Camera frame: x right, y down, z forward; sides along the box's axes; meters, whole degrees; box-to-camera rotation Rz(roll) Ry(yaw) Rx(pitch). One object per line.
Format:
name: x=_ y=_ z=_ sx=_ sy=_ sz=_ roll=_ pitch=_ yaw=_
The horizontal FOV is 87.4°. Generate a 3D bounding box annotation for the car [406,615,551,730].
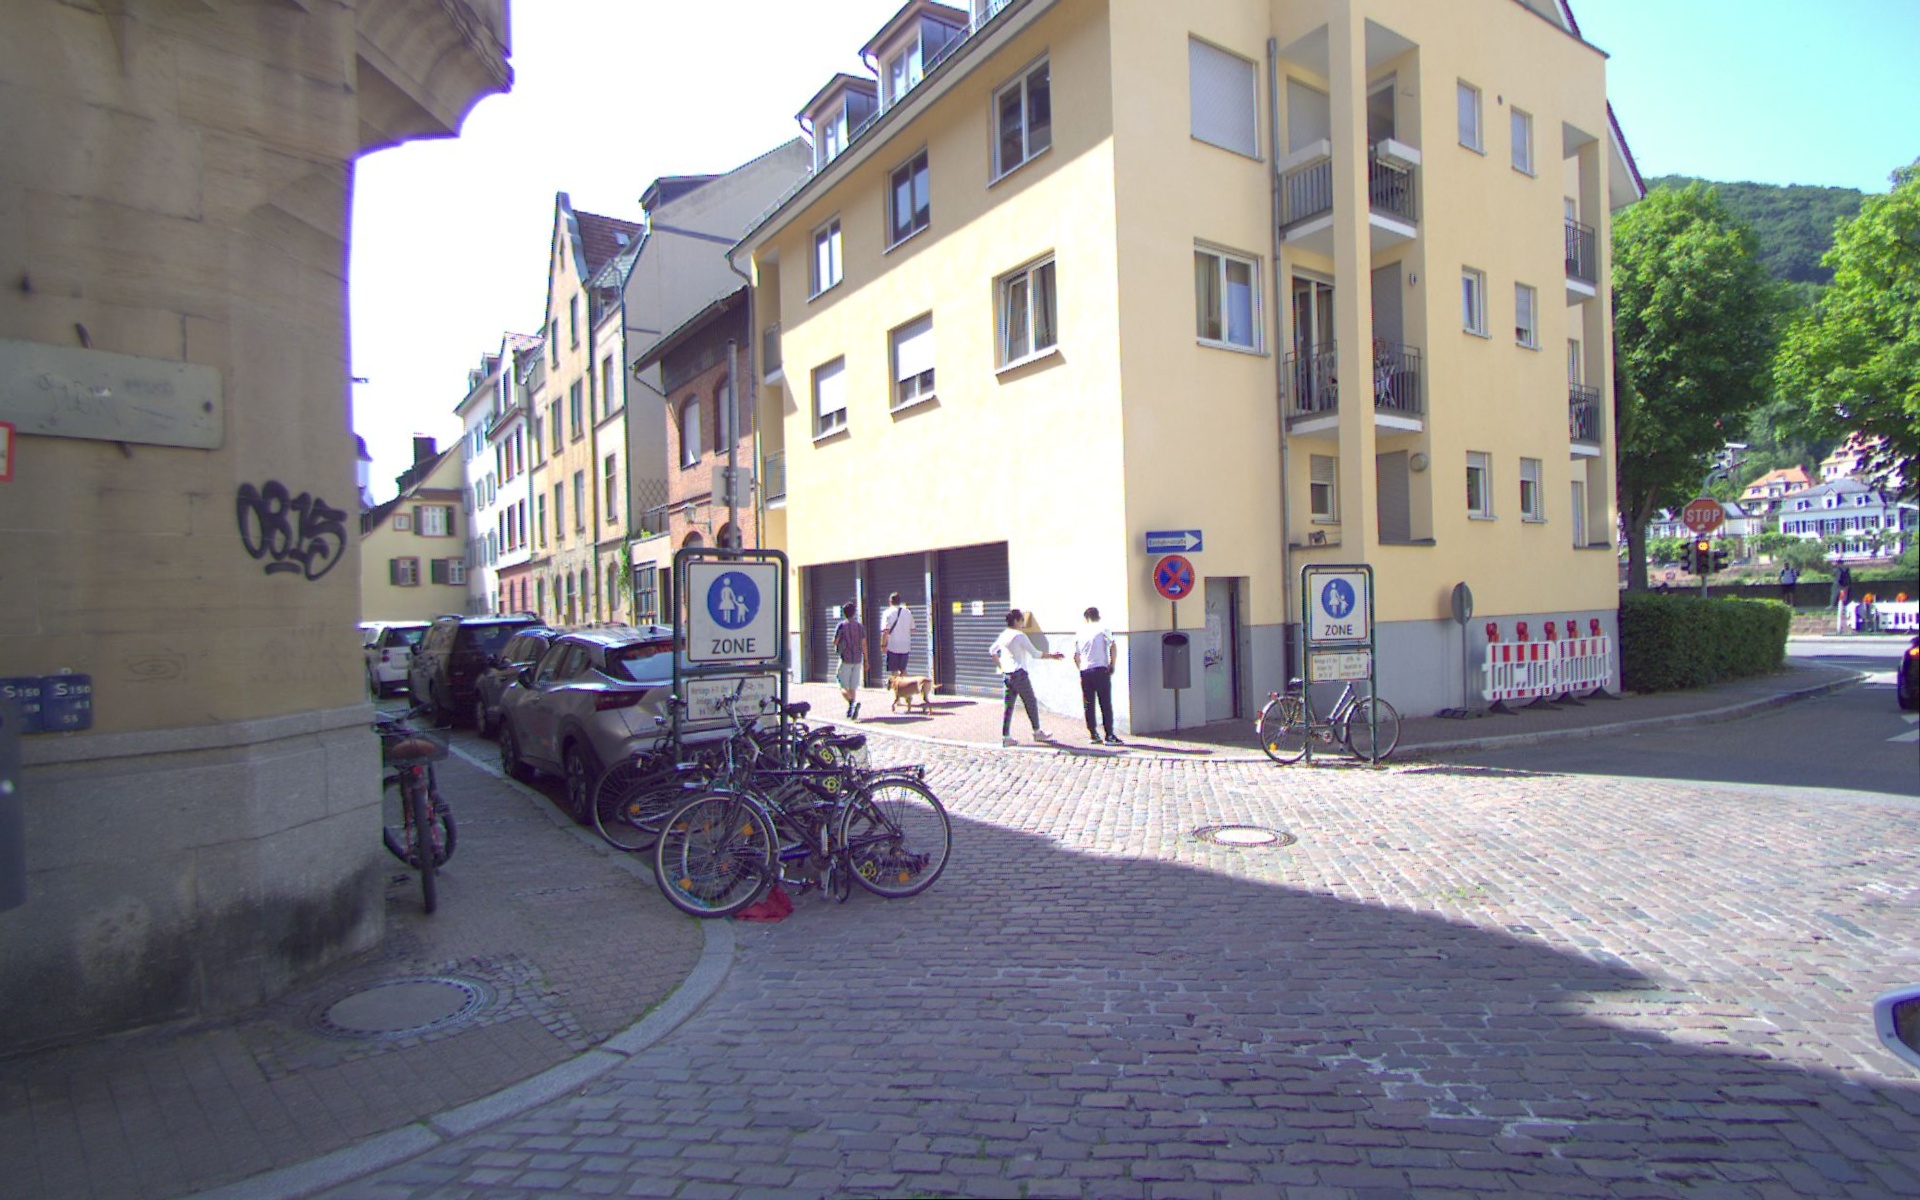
car: x=-8.180 y=1.102 z=16.900 sx=1.553 sy=1.657 sz=3.822 roll=0 pitch=0 yaw=-36

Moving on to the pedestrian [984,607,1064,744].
pedestrian: x=0.790 y=0.926 z=12.578 sx=0.746 sy=1.639 sz=0.687 roll=-1 pitch=-2 yaw=-23

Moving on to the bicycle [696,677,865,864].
bicycle: x=-1.312 y=1.232 z=7.657 sx=0.280 sy=1.100 sz=1.640 roll=-4 pitch=1 yaw=26

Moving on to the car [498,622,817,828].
car: x=-3.166 y=1.038 z=9.981 sx=1.835 sy=1.564 sz=3.888 roll=-1 pitch=-1 yaw=-36

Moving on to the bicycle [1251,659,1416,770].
bicycle: x=4.156 y=1.247 z=11.154 sx=1.880 sy=1.093 sz=0.390 roll=-1 pitch=-1 yaw=-19

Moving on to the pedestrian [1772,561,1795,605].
pedestrian: x=33.630 y=-0.698 z=41.015 sx=0.700 sy=1.755 sz=0.752 roll=-1 pitch=0 yaw=42

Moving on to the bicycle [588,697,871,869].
bicycle: x=-1.509 y=1.192 z=6.747 sx=1.633 sy=1.086 sz=0.285 roll=0 pitch=42 yaw=-47

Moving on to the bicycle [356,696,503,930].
bicycle: x=-3.152 y=1.157 z=5.904 sx=0.491 sy=1.100 sz=1.626 roll=4 pitch=-4 yaw=-36

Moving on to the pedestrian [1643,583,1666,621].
pedestrian: x=27.762 y=0.075 z=40.135 sx=0.796 sy=1.513 sz=0.464 roll=-1 pitch=0 yaw=-34

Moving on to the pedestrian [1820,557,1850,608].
pedestrian: x=32.956 y=-0.664 z=37.831 sx=0.752 sy=1.882 sz=0.754 roll=-1 pitch=0 yaw=35

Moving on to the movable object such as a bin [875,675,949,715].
movable object such as a bin: x=-0.748 y=1.444 z=15.378 sx=1.223 sy=0.571 sz=0.299 roll=-3 pitch=-2 yaw=37

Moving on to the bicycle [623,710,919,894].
bicycle: x=-1.164 y=1.250 z=6.397 sx=1.633 sy=1.086 sz=0.285 roll=0 pitch=42 yaw=-47

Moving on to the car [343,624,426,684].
car: x=-16.007 y=1.420 z=27.849 sx=1.646 sy=1.462 sz=4.030 roll=0 pitch=0 yaw=-35

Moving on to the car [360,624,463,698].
car: x=-12.544 y=1.312 z=22.867 sx=1.646 sy=1.462 sz=3.823 roll=0 pitch=0 yaw=-35

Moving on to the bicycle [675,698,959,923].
bicycle: x=-0.807 y=1.183 z=5.867 sx=1.618 sy=1.100 sz=0.284 roll=-1 pitch=3 yaw=-22

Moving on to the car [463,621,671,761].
car: x=-5.540 y=1.111 z=13.870 sx=1.834 sy=1.565 sz=3.961 roll=0 pitch=0 yaw=-35

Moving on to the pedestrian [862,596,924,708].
pedestrian: x=-1.104 y=0.829 z=16.431 sx=0.613 sy=1.768 sz=0.854 roll=2 pitch=0 yaw=-34

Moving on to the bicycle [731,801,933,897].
bicycle: x=-0.880 y=1.621 z=6.679 sx=1.107 sy=0.291 sz=1.073 roll=-1 pitch=-1 yaw=-22

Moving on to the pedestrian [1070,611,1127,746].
pedestrian: x=1.721 y=0.954 z=12.441 sx=0.644 sy=1.639 sz=0.493 roll=-1 pitch=0 yaw=13

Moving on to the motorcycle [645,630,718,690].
motorcycle: x=-6.318 y=1.319 z=22.678 sx=0.592 sy=1.265 sz=2.453 roll=2 pitch=-2 yaw=-40

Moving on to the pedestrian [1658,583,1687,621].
pedestrian: x=28.269 y=0.081 z=39.828 sx=1.370 sy=1.499 sz=0.464 roll=-1 pitch=0 yaw=-34

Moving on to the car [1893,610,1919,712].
car: x=16.453 y=0.856 z=15.937 sx=4.683 sy=1.481 sz=1.701 roll=-1 pitch=-3 yaw=-39

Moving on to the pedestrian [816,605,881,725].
pedestrian: x=-1.721 y=0.979 z=15.451 sx=0.613 sy=1.768 sz=0.854 roll=2 pitch=0 yaw=-34

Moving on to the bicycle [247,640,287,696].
bicycle: x=-14.978 y=1.450 z=21.731 sx=0.477 sy=1.113 sz=1.595 roll=0 pitch=0 yaw=-27

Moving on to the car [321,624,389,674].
car: x=-19.677 y=1.542 z=32.608 sx=1.646 sy=1.462 sz=3.823 roll=0 pitch=0 yaw=-35
